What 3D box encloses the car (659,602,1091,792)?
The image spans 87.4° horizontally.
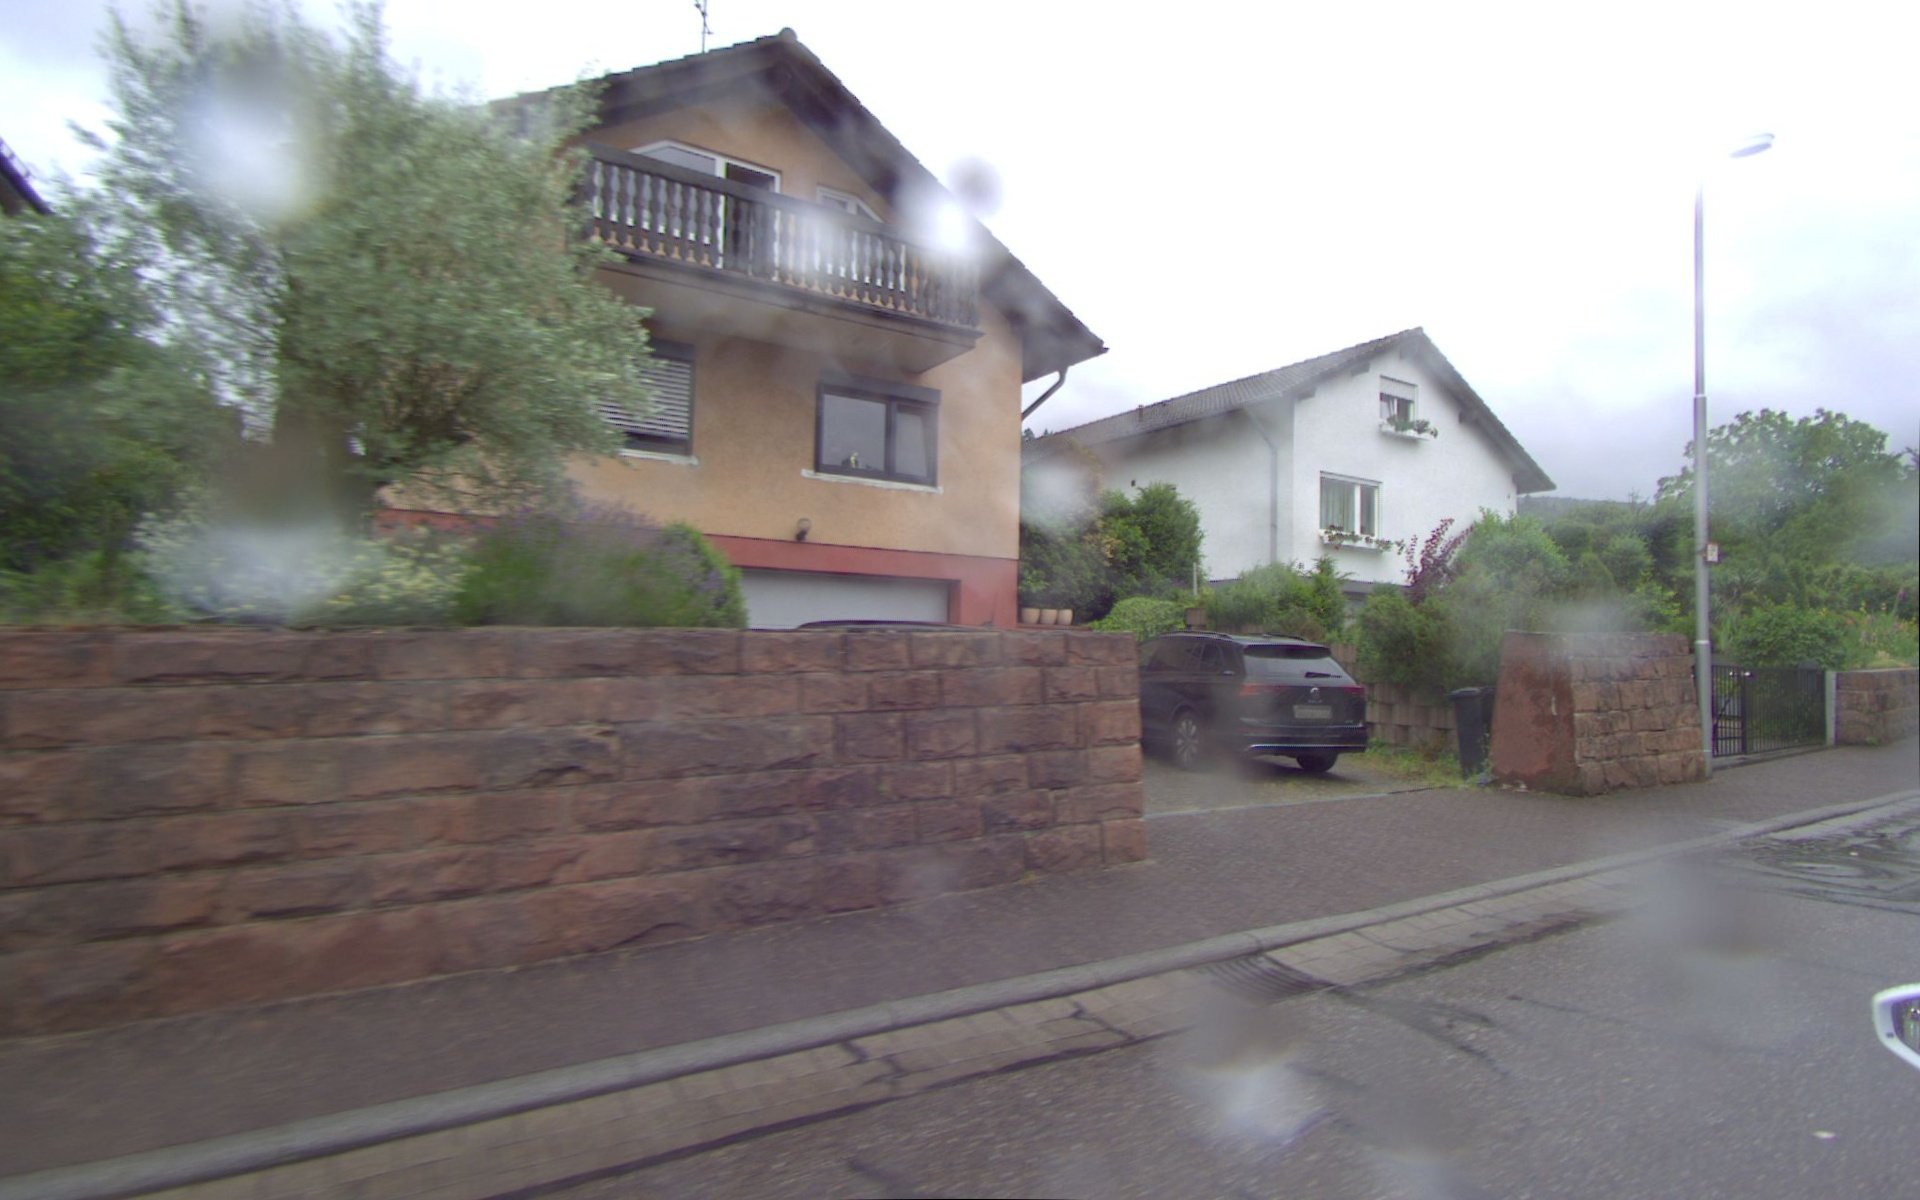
[{"bbox_3d":[-0.897,0.837,9.973,3.930,1.470,1.811,1,-2,32],"label":"car"}]

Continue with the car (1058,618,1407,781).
[{"bbox_3d":[2.884,1.012,11.586,1.970,1.513,3.983,2,-2,-20],"label":"car"}]
